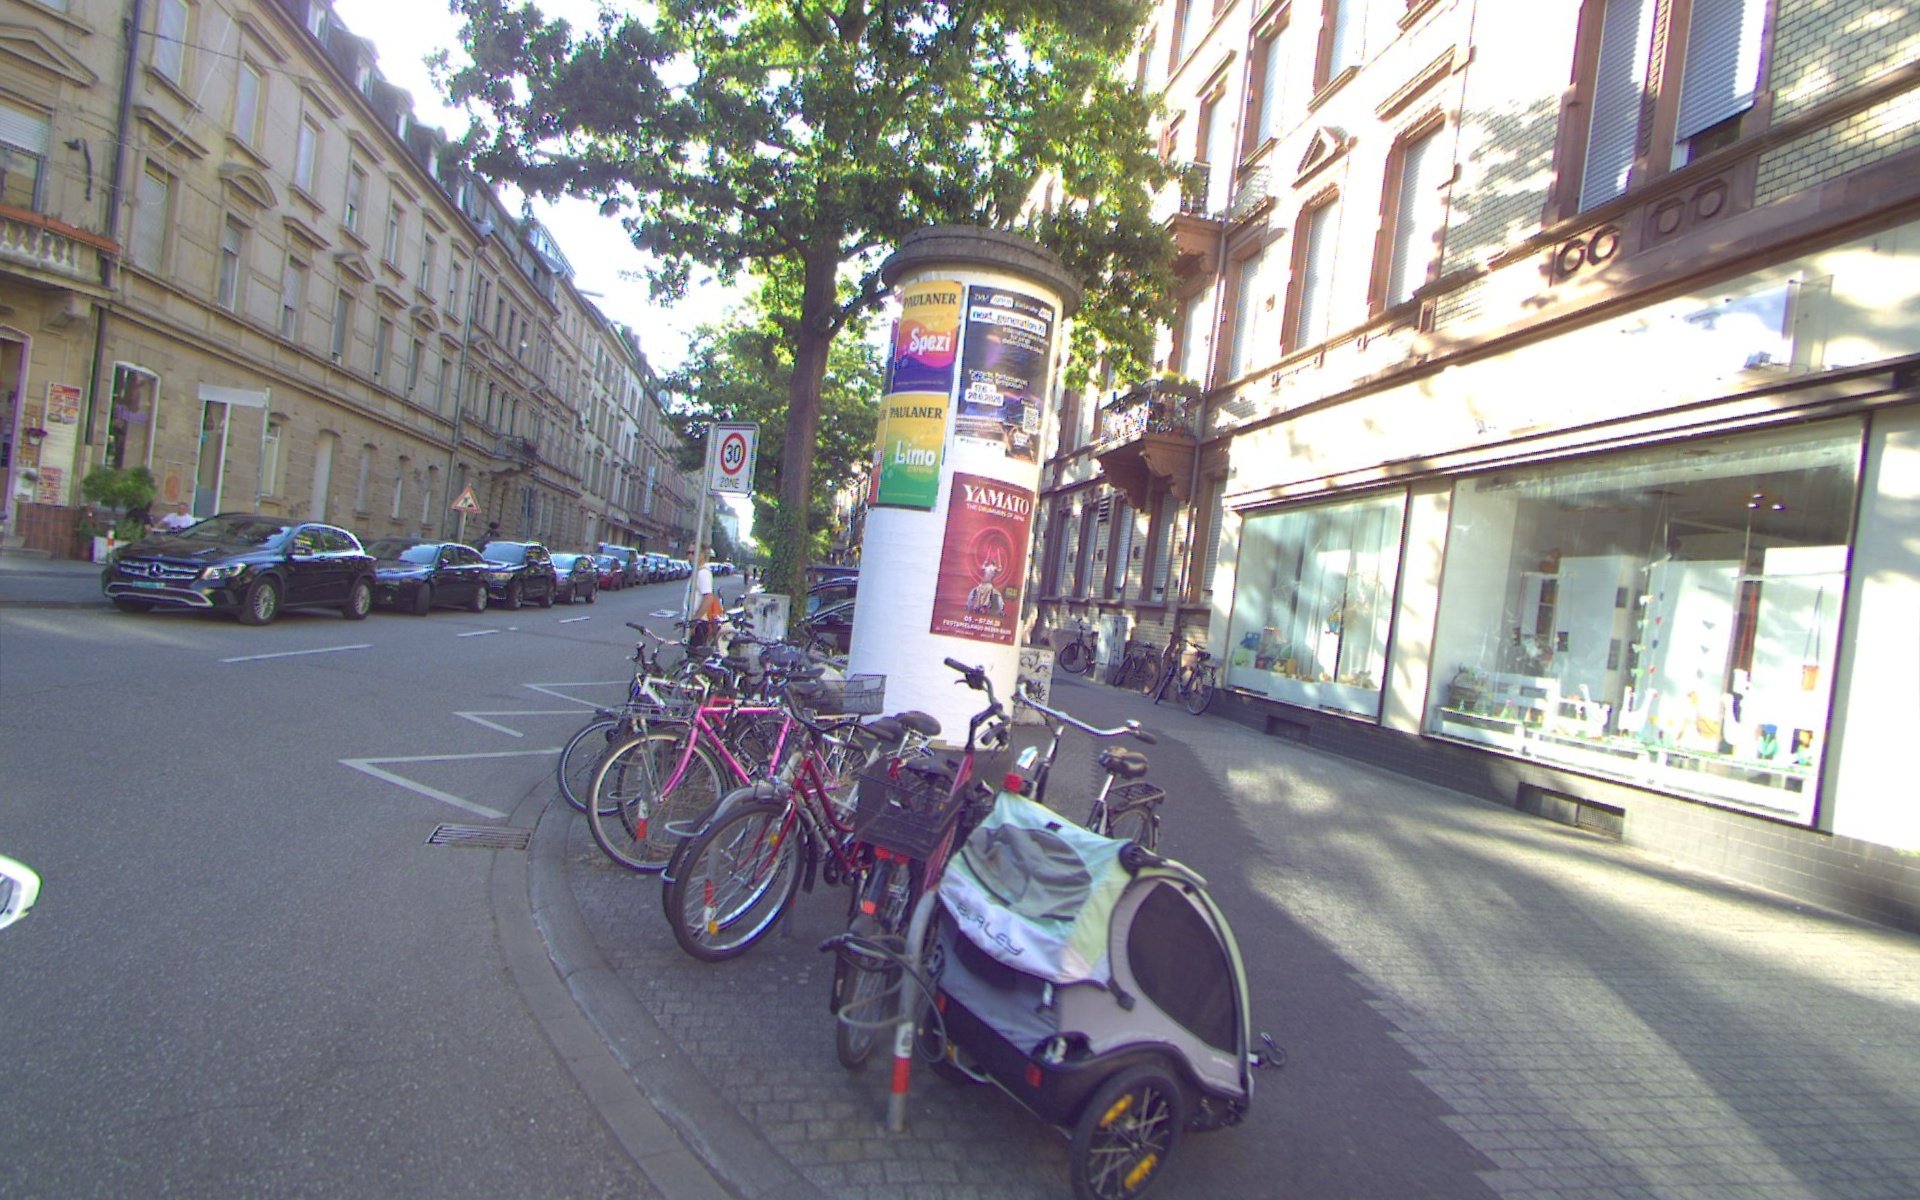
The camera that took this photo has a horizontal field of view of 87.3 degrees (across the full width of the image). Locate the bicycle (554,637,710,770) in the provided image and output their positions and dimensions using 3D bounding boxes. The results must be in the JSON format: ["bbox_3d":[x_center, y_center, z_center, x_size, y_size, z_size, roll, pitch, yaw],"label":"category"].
[{"bbox_3d":[-2.574,0.783,8.046,0.348,0.939,1.412,5,0,19],"label":"bicycle"}]

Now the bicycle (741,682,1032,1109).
[{"bbox_3d":[-0.175,0.900,3.610,0.417,1.107,1.477,5,0,19],"label":"bicycle"}]

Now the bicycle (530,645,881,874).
[{"bbox_3d":[-1.354,0.832,5.721,0.496,1.065,1.925,5,0,42],"label":"bicycle"}]

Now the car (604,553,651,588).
[{"bbox_3d":[-18.537,-1.662,56.268,1.731,1.628,4.374,9,0,-10],"label":"car"}]

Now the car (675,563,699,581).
[{"bbox_3d":[-25.482,-2.637,93.970,1.735,1.491,4.048,7,1,-12],"label":"car"}]

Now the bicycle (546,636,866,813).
[{"bbox_3d":[-1.612,0.796,6.576,1.916,1.000,0.492,4,1,-33],"label":"bicycle"}]

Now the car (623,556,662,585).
[{"bbox_3d":[-19.782,-1.823,62.789,1.736,1.485,3.989,9,0,-12],"label":"car"}]

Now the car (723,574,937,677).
[{"bbox_3d":[-2.686,0.505,20.792,4.051,1.553,1.721,7,0,-10],"label":"car"}]

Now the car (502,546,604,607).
[{"bbox_3d":[-12.139,-0.688,30.237,1.733,1.520,4.053,6,0,-7],"label":"car"}]

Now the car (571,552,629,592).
[{"bbox_3d":[-16.080,-1.242,45.063,1.571,1.493,3.692,9,0,-9],"label":"car"}]

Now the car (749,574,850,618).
[{"bbox_3d":[-7.245,-0.206,45.316,4.284,1.577,1.844,4,2,-12],"label":"car"}]

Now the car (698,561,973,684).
[{"bbox_3d":[-2.265,0.402,18.425,4.622,1.700,1.848,6,0,-10],"label":"car"}]

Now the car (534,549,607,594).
[{"bbox_3d":[-15.612,-1.137,40.517,1.734,1.520,4.052,6,0,-8],"label":"car"}]

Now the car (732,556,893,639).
[{"bbox_3d":[-4.564,-0.077,30.882,4.614,2.059,1.873,5,1,-14],"label":"car"}]

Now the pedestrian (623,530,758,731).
[{"bbox_3d":[-2.818,0.316,10.650,1.099,1.922,0.841,7,1,-10],"label":"pedestrian"}]

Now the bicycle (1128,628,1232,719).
[{"bbox_3d":[3.418,1.111,15.939,0.661,1.186,2.588,5,0,-8],"label":"bicycle"}]

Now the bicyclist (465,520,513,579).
[{"bbox_3d":[-15.579,-1.667,33.282,0.982,1.813,1.204,7,2,-10],"label":"bicyclist"}]

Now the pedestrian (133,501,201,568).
[{"bbox_3d":[-15.926,-1.296,20.217,0.716,1.229,0.755,7,1,-13],"label":"pedestrian"}]

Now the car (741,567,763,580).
[{"bbox_3d":[-42.209,-5.386,204.419,3.928,1.882,1.750,8,1,-3],"label":"car"}]

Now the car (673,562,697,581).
[{"bbox_3d":[-24.389,-2.556,89.343,1.735,1.491,4.048,7,1,-12],"label":"car"}]

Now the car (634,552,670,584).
[{"bbox_3d":[-20.576,-2.126,67.441,1.735,1.865,4.517,6,1,-12],"label":"car"}]

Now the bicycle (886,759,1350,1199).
[{"bbox_3d":[0.448,1.063,2.924,0.989,1.039,0.732,7,1,-33],"label":"bicycle"}]

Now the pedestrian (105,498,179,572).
[{"bbox_3d":[-15.536,-1.218,19.123,0.716,1.274,0.755,7,1,-13],"label":"pedestrian"}]

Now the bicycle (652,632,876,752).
[{"bbox_3d":[-1.756,0.834,9.118,1.903,0.939,0.354,4,1,-12],"label":"bicycle"}]

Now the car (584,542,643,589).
[{"bbox_3d":[-17.288,-1.696,50.479,1.808,1.966,5.248,9,0,-11],"label":"car"}]

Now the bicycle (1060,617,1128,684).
[{"bbox_3d":[2.768,1.021,21.077,0.661,1.186,2.588,5,0,-8],"label":"bicycle"}]

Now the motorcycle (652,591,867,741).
[{"bbox_3d":[-1.904,0.627,9.679,1.871,1.250,0.684,5,1,-10],"label":"motorcycle"}]

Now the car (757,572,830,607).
[{"bbox_3d":[-9.562,-0.599,57.785,3.955,1.627,1.730,5,1,-11],"label":"car"}]

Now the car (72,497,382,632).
[{"bbox_3d":[-10.391,-0.458,14.715,1.733,1.506,4.134,6,0,-6],"label":"car"}]

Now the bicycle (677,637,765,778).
[{"bbox_3d":[-1.865,0.800,7.994,0.348,0.939,1.524,4,0,-3],"label":"bicycle"}]

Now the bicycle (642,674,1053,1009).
[{"bbox_3d":[-0.361,0.892,4.314,0.419,1.107,1.926,5,0,40],"label":"bicycle"}]

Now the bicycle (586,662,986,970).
[{"bbox_3d":[-0.678,0.863,4.604,0.419,1.107,1.926,5,0,40],"label":"bicycle"}]

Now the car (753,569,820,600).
[{"bbox_3d":[-12.239,-1.088,70.840,4.186,1.818,1.820,5,1,-30],"label":"car"}]

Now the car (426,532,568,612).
[{"bbox_3d":[-11.374,-0.672,25.089,1.733,1.620,4.544,6,0,-6],"label":"car"}]

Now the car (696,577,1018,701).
[{"bbox_3d":[-1.624,0.596,16.027,4.718,1.430,1.848,6,0,-9],"label":"car"}]

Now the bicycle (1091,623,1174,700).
[{"bbox_3d":[3.125,1.085,18.545,0.661,1.186,2.588,5,0,-8],"label":"bicycle"}]

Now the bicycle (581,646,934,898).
[{"bbox_3d":[-0.990,0.841,5.403,0.419,1.107,1.925,5,0,42],"label":"bicycle"}]

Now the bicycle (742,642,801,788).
[{"bbox_3d":[-1.450,0.848,7.864,0.348,0.939,1.523,4,0,-9],"label":"bicycle"}]

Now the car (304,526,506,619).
[{"bbox_3d":[-10.896,-0.496,20.164,1.733,1.470,4.546,6,0,-5],"label":"car"}]

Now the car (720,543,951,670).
[{"bbox_3d":[-2.945,0.165,23.624,4.956,2.242,1.988,7,0,-12],"label":"car"}]

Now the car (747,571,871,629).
[{"bbox_3d":[-5.347,-0.004,35.850,4.126,1.648,1.834,5,1,-8],"label":"car"}]

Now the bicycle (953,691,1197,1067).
[{"bbox_3d":[0.537,0.988,4.091,0.563,1.107,1.476,5,0,21],"label":"bicycle"}]

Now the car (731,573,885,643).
[{"bbox_3d":[-4.261,0.211,28.155,3.999,1.529,1.875,5,1,-11],"label":"car"}]
